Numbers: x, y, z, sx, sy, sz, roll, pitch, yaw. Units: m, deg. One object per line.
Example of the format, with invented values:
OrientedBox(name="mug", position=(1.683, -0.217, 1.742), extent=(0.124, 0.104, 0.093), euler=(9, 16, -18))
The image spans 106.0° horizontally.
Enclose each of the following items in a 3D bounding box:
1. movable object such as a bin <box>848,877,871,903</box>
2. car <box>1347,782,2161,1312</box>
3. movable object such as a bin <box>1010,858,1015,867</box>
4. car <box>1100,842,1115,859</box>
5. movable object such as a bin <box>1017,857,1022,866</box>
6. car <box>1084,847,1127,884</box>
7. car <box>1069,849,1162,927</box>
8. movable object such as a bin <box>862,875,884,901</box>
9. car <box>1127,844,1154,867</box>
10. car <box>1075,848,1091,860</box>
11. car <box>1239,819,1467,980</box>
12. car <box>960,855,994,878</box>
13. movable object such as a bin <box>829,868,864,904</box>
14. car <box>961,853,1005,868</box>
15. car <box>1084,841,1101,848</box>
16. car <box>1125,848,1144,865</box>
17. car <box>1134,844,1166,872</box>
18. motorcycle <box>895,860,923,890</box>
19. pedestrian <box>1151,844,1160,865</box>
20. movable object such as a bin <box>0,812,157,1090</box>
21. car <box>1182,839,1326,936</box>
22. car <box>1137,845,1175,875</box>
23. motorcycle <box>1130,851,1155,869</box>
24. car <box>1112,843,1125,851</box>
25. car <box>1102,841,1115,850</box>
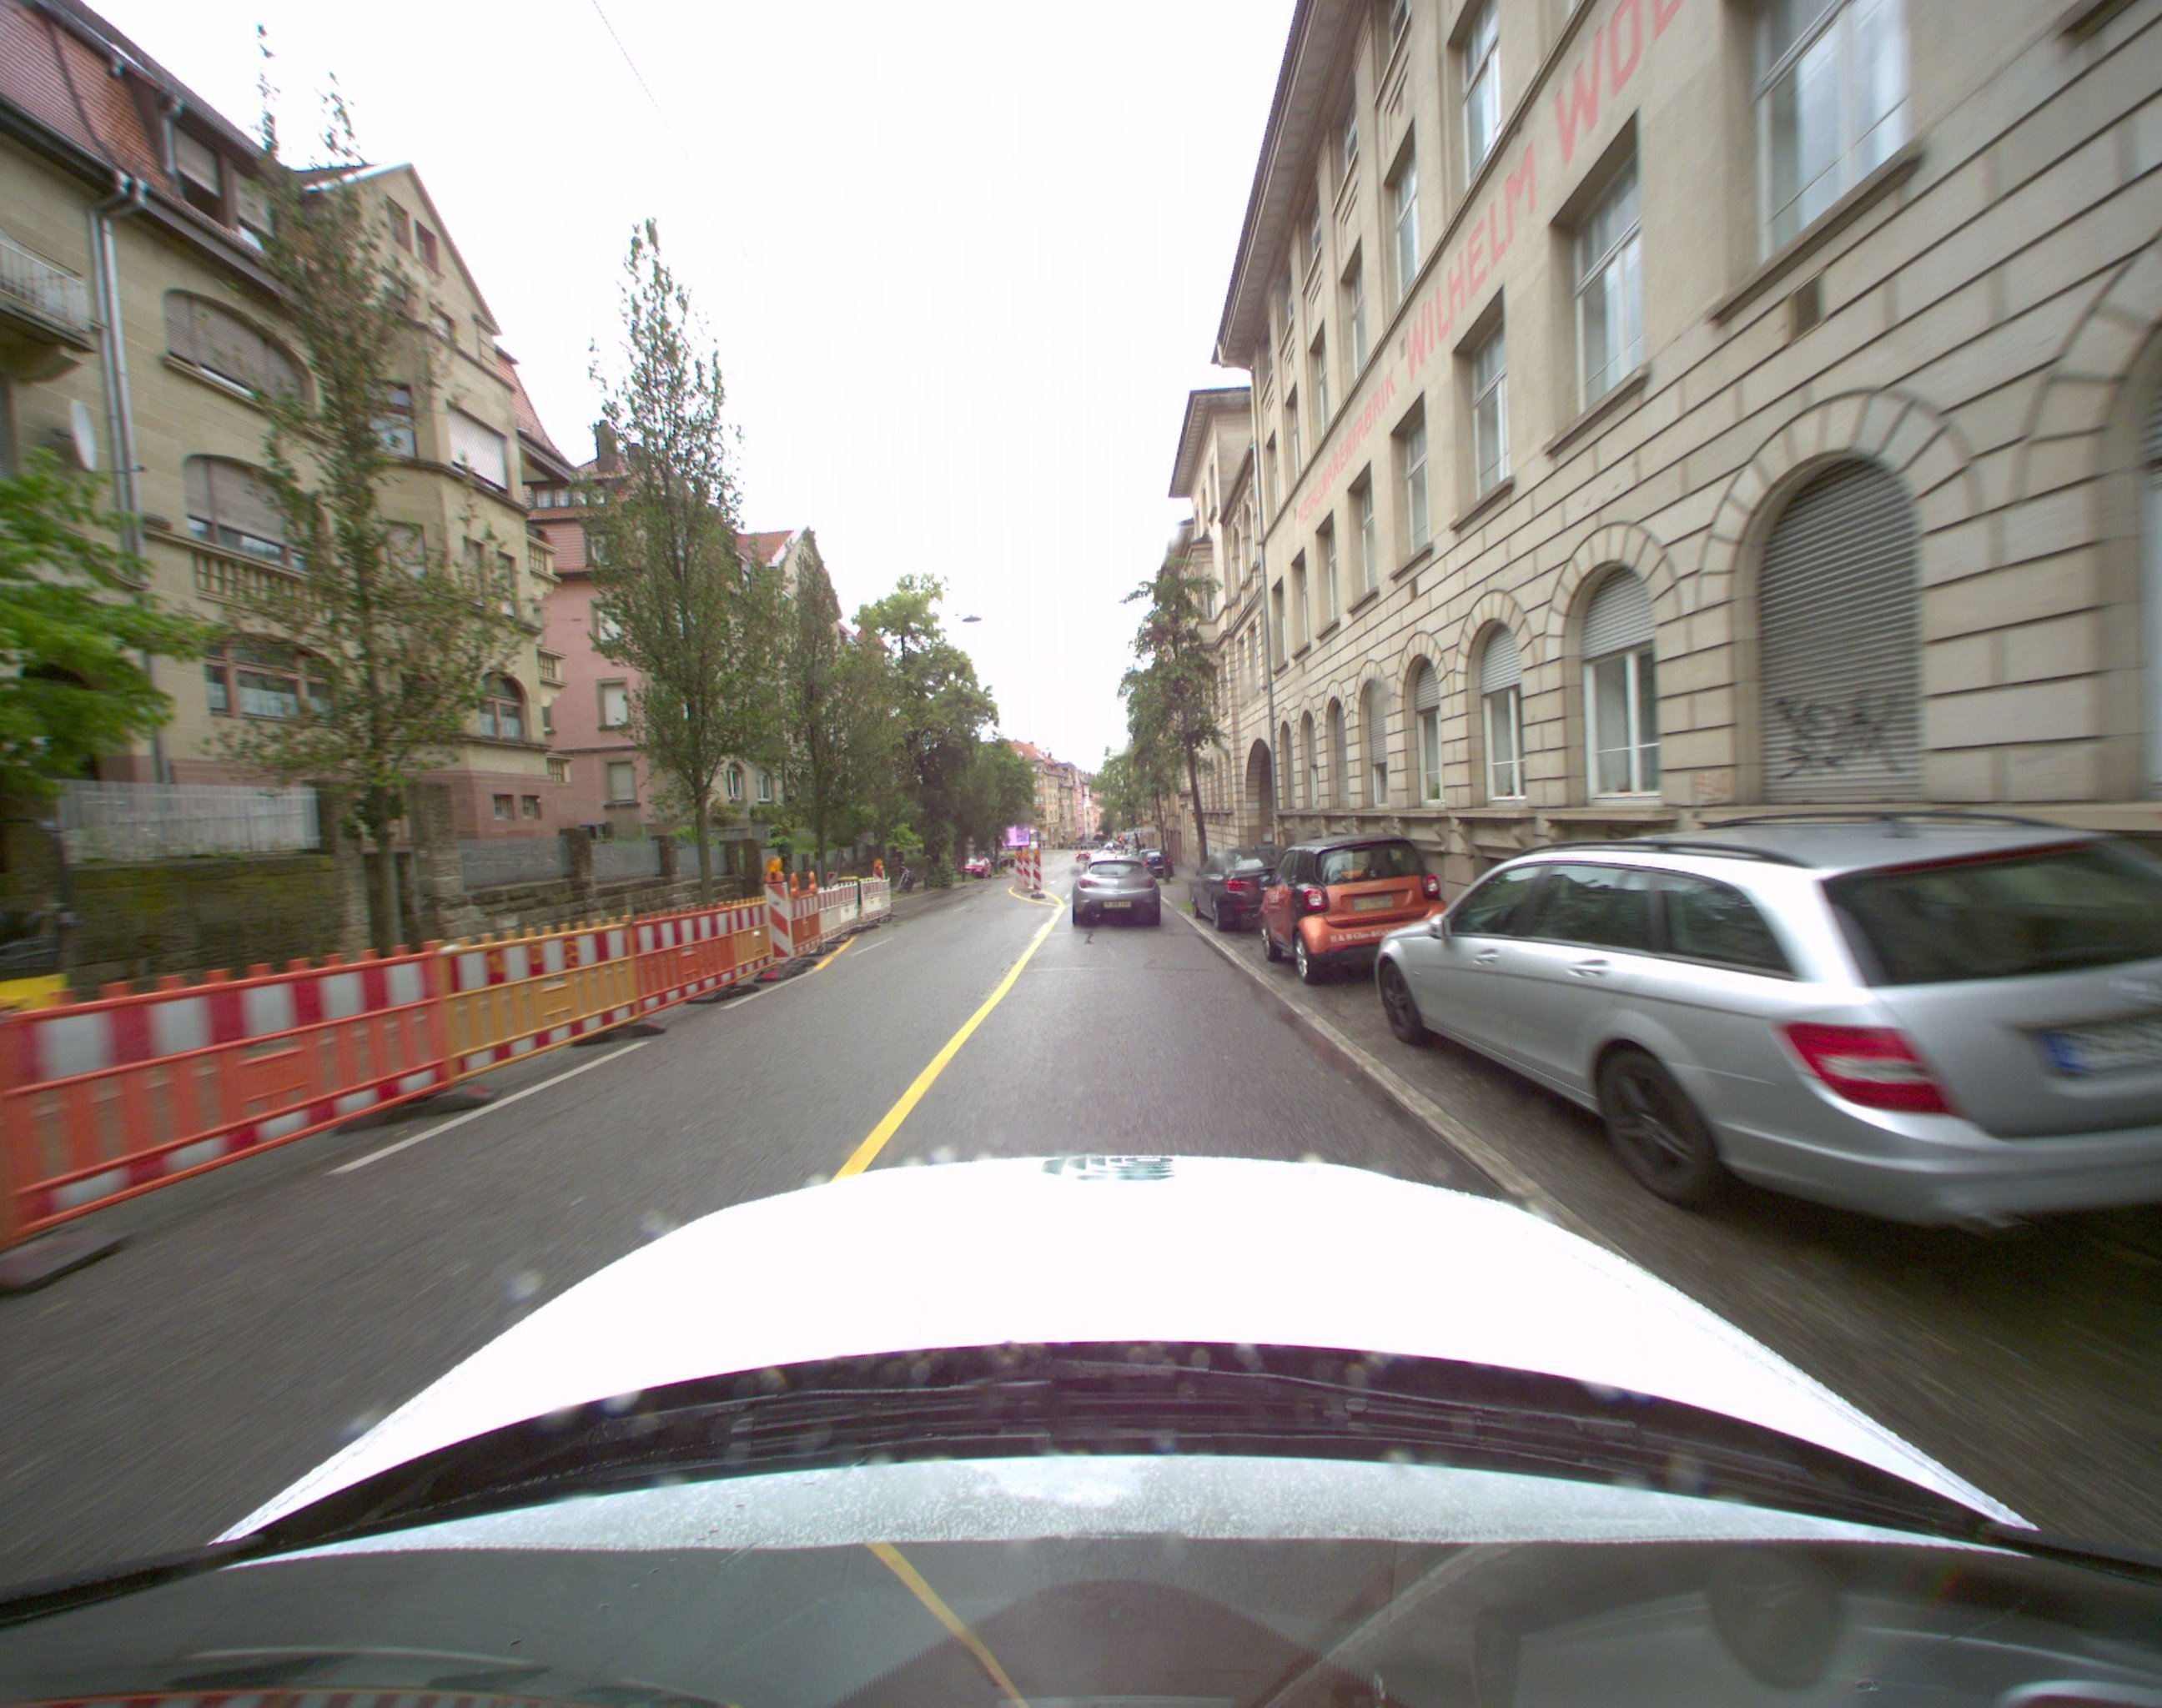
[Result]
OrientedBox(name="movable object such as a bin", position=(-7.956, 1.290, 29.291), extent=(0.601, 0.907, 0.624), euler=(-1, 1, 2))
OrientedBox(name="car", position=(3.100, 0.518, 4.583), extent=(1.689, 1.431, 4.422), euler=(-5, 0, 0))
OrientedBox(name="movable object such as a bin", position=(-8.430, 1.005, 99.820), extent=(0.624, 1.058, 0.633), euler=(0, 0, -5))
OrientedBox(name="car", position=(3.019, -0.412, 93.864), extent=(1.650, 1.782, 3.667), euler=(-2, 0, 2))
OrientedBox(name="movable object such as a bin", position=(-7.487, 0.938, 99.733), extent=(0.624, 1.058, 0.719), euler=(0, 0, -5))
OrientedBox(name="car", position=(1.061, 0.466, 35.930), extent=(1.766, 1.504, 3.869), euler=(-1, 1, 0))
OrientedBox(name="car", position=(0.733, 0.665, 18.076), extent=(1.804, 1.449, 3.871), euler=(-1, 1, 1))
OrientedBox(name="movable object such as a bin", position=(-7.845, 1.278, 30.714), extent=(0.601, 0.907, 0.624), euler=(-1, 1, 2))
OrientedBox(name="car", position=(4.528, 0.069, 62.616), extent=(1.632, 1.602, 3.856), euler=(-3, 1, -1))
OrientedBox(name="car", position=(0.331, -0.002, 109.177), extent=(1.986, 1.500, 4.002), euler=(-2, 0, 2))
OrientedBox(name="car", position=(3.118, 0.455, 9.992), extent=(1.633, 1.520, 3.183), euler=(-5, 0, 0))
OrientedBox(name="car", position=(-7.262, 0.863, 57.001), extent=(1.631, 1.439, 4.082), euler=(-3, 1, 2))
OrientedBox(name="movable object such as a bin", position=(-8.153, 1.102, 28.341), extent=(0.941, 1.214, 0.857), euler=(-1, 1, 2))
OrientedBox(name="car", position=(-10.274, 0.684, 85.615), extent=(4.321, 1.243, 1.633), euler=(-3, 1, -18))
OrientedBox(name="car", position=(2.685, -2.259, 191.414), extent=(3.972, 1.750, 2.001), euler=(0, 0, 1))
OrientedBox(name="car", position=(5.071, 0.224, 77.376), extent=(1.631, 1.524, 3.860), euler=(-3, 1, 2))
OrientedBox(name="car", position=(4.014, 0.210, 47.782), extent=(1.631, 1.469, 3.860), euler=(-3, 1, 2))
OrientedBox(name="motorcycle", position=(-8.134, 0.967, 38.548), extent=(0.762, 1.345, 2.204), euler=(-1, 0, 1))
OrientedBox(name="pedestrian", position=(6.632, 0.020, 72.401), extent=(0.713, 1.870, 0.636), euler=(-1, -1, 1))
OrientedBox(name="movable object such as a bin", position=(-10.010, 0.861, 6.445), extent=(1.984, 2.299, 2.820), euler=(-3, 1, 5))
OrientedBox(name="car", position=(3.193, 0.535, 16.031), extent=(1.752, 1.461, 4.724), euler=(-5, 0, 0))
OrientedBox(name="car", position=(3.897, 0.295, 42.668), extent=(1.631, 1.429, 3.377), euler=(-3, 1, 1))
OrientedBox(name="motorcycle", position=(4.236, 0.424, 56.235), extent=(0.649, 1.235, 1.994), euler=(-1, -1, 40))
OrientedBox(name="car", position=(7.358, -1.400, 160.812), extent=(1.980, 1.684, 4.013), euler=(0, 0, 12))
OrientedBox(name="car", position=(5.672, -1.743, 169.345), extent=(1.980, 1.684, 4.013), euler=(0, 0, 12))
